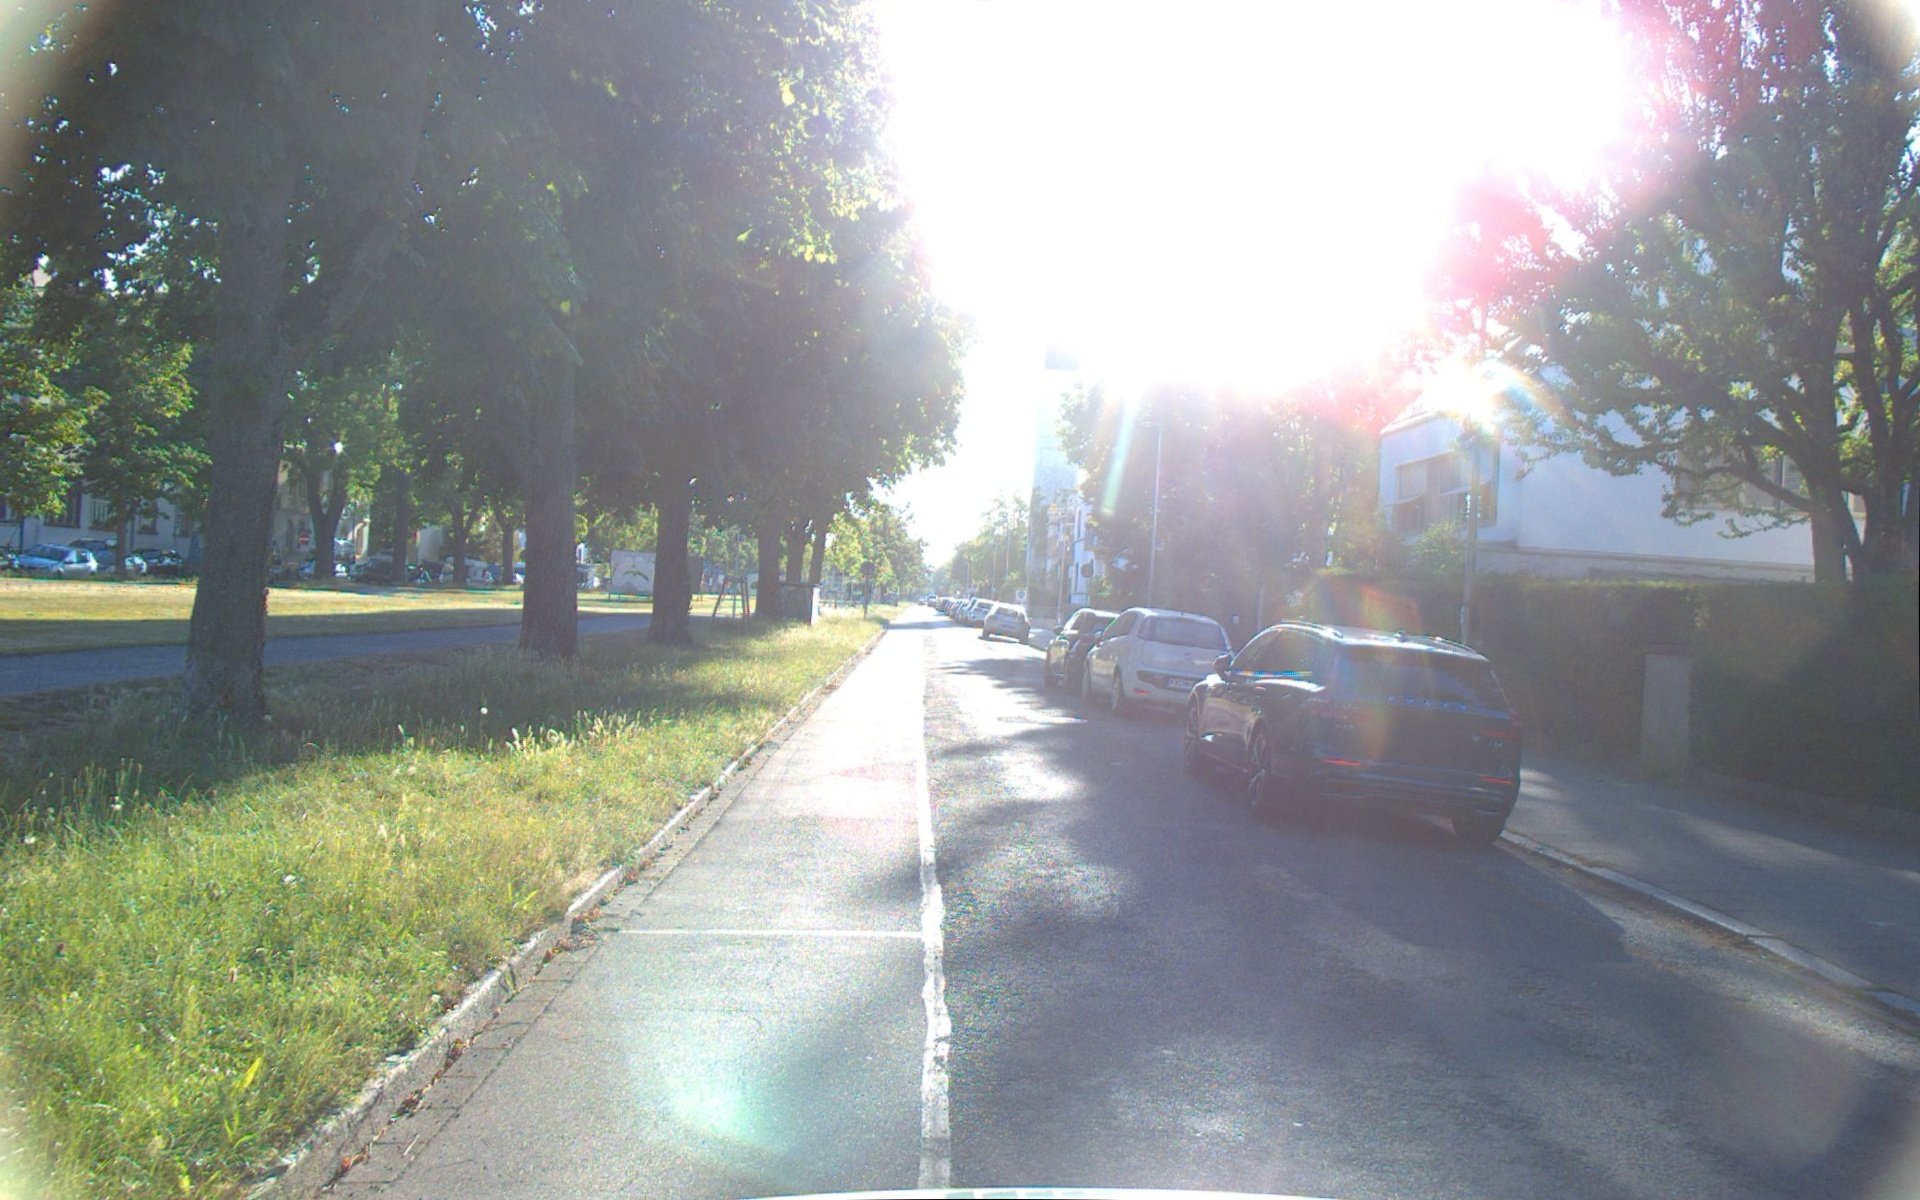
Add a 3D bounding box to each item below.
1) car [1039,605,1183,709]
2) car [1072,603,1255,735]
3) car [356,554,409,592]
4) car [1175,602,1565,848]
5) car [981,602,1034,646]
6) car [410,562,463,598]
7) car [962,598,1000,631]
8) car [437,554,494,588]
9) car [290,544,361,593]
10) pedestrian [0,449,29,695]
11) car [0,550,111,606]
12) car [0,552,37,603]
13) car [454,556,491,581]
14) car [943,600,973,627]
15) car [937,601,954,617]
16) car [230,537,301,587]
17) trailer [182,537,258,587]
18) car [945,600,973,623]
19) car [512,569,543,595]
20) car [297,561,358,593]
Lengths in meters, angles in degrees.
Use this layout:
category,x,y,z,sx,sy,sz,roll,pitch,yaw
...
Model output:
category,x,y,z,sx,sy,sz,roll,pitch,yaw
car,2.526,0.931,28.715,1.715,1.502,4.285,5,0,-4
car,2.821,0.915,23.712,1.659,1.508,3.925,7,-1,-5
car,-35.481,-1.634,101.764,1.651,2.213,4.314,4,0,-1
car,3.026,0.853,13.291,1.757,1.518,4.672,4,-1,-2
car,1.856,0.948,65.945,1.723,1.443,4.071,9,0,-1
car,-35.656,-1.340,112.727,1.953,2.289,5.185,3,0,-1
car,1.119,0.769,89.143,1.723,1.633,4.356,3,0,-3
car,-35.928,-2.073,120.407,2.483,2.275,5.458,3,0,-1
car,-41.336,-2.040,107.900,2.388,2.973,5.816,1,-1,-1
pedestrian,-7.367,-0.220,11.840,0.709,1.788,0.993,3,0,5
car,-34.327,-0.804,62.741,1.953,1.892,4.254,4,-1,0
car,-34.162,-0.848,57.213,1.953,1.751,4.254,4,-1,0
car,-42.764,-2.787,145.131,1.953,2.048,4.484,-3,1,-2
car,-0.149,0.893,109.553,1.723,1.633,4.356,3,0,-3
car,-1.674,1.012,191.025,1.940,1.712,3.999,3,0,0
car,-40.884,-2.214,97.495,1.953,2.719,5.185,3,0,-1
trailer,-40.731,-2.060,91.142,1.953,2.470,4.722,3,0,-1
car,-0.085,0.820,119.781,1.726,1.547,3.998,5,0,-3
car,-42.791,-1.741,163.877,1.953,2.452,4.362,1,-1,-1
car,-34.978,-1.250,91.562,1.650,1.587,4.313,3,0,-1
